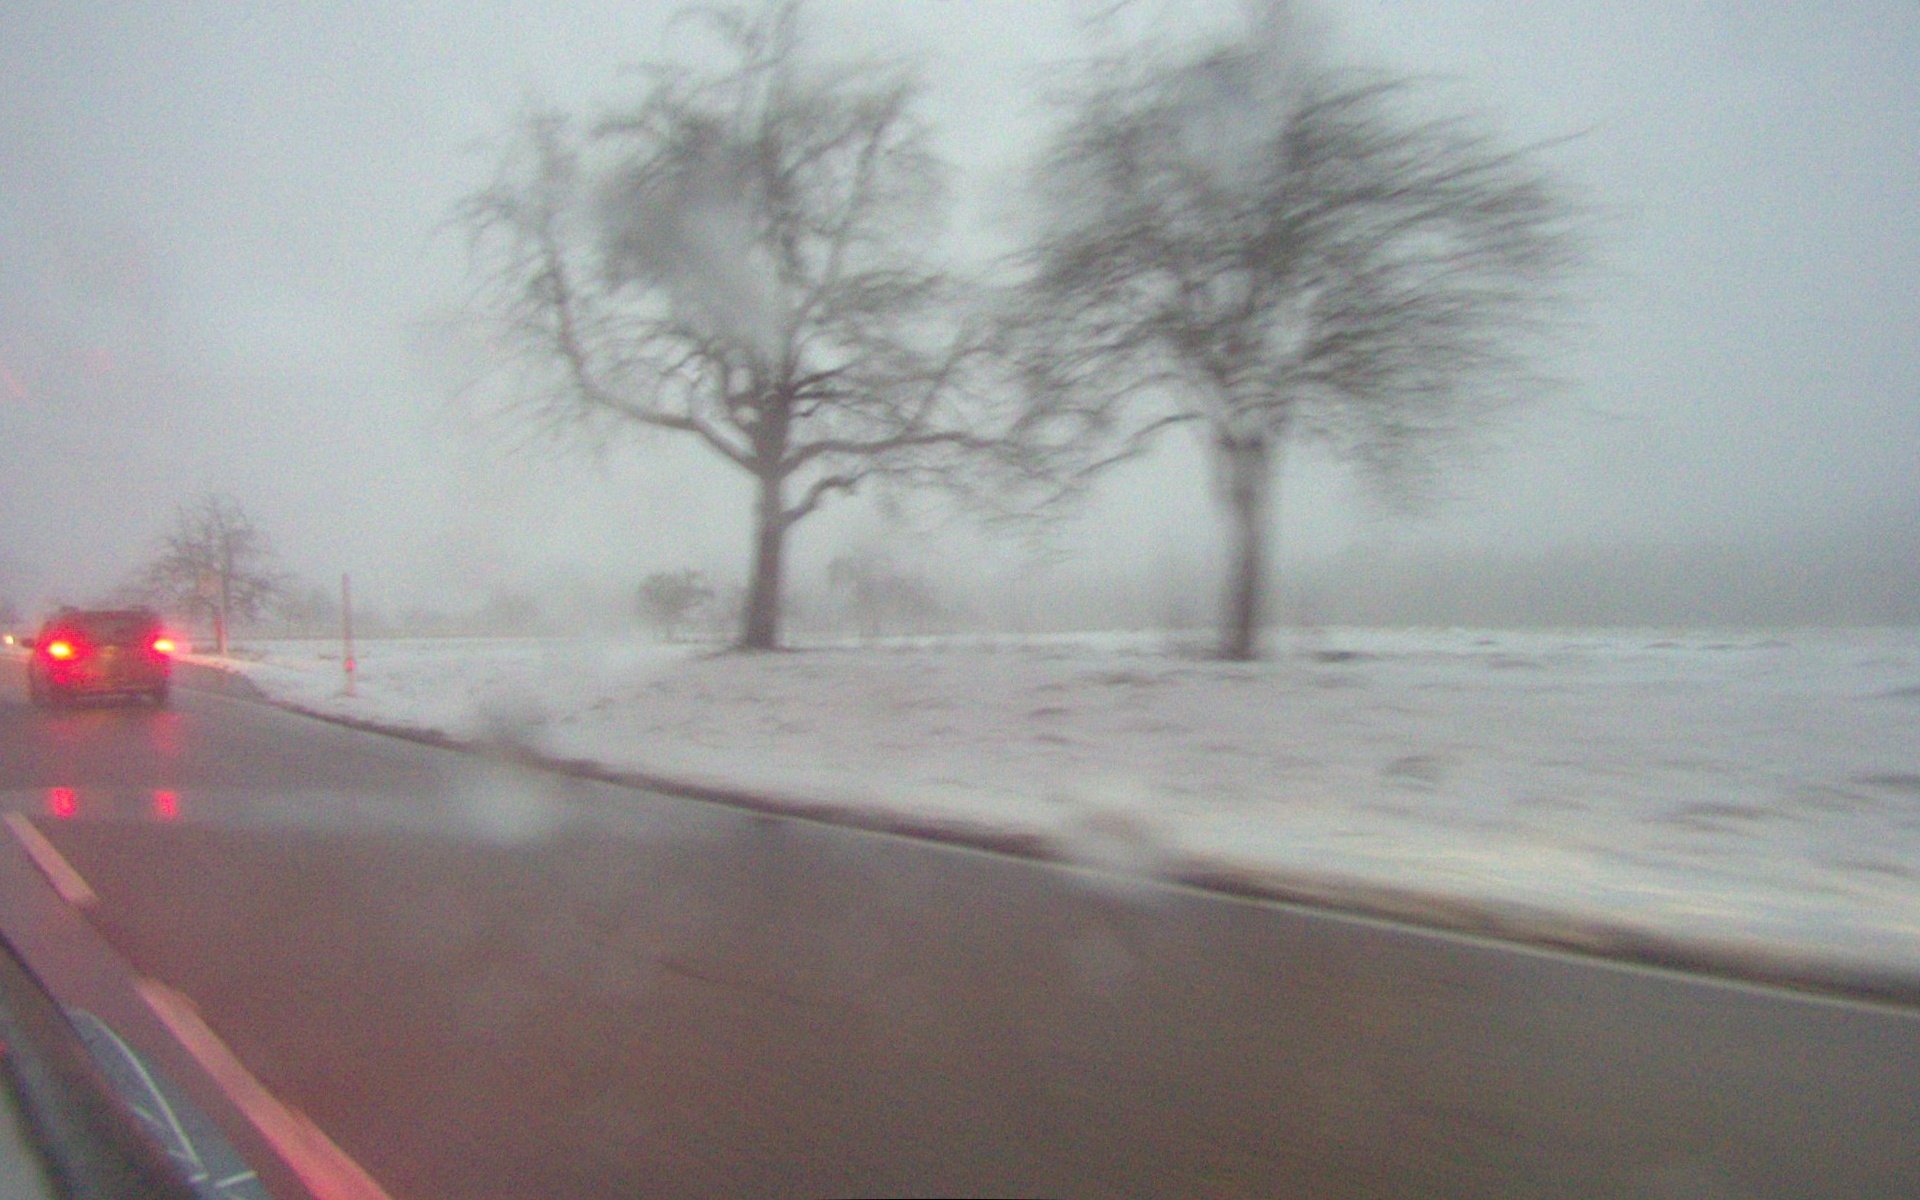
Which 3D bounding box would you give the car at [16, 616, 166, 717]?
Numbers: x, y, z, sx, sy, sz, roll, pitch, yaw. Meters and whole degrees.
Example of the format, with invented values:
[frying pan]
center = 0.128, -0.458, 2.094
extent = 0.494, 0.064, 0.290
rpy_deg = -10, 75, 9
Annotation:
[car]
center = -16.843, 1.218, 19.544
extent = 4.426, 1.706, 1.733
rpy_deg = -3, -2, 43
